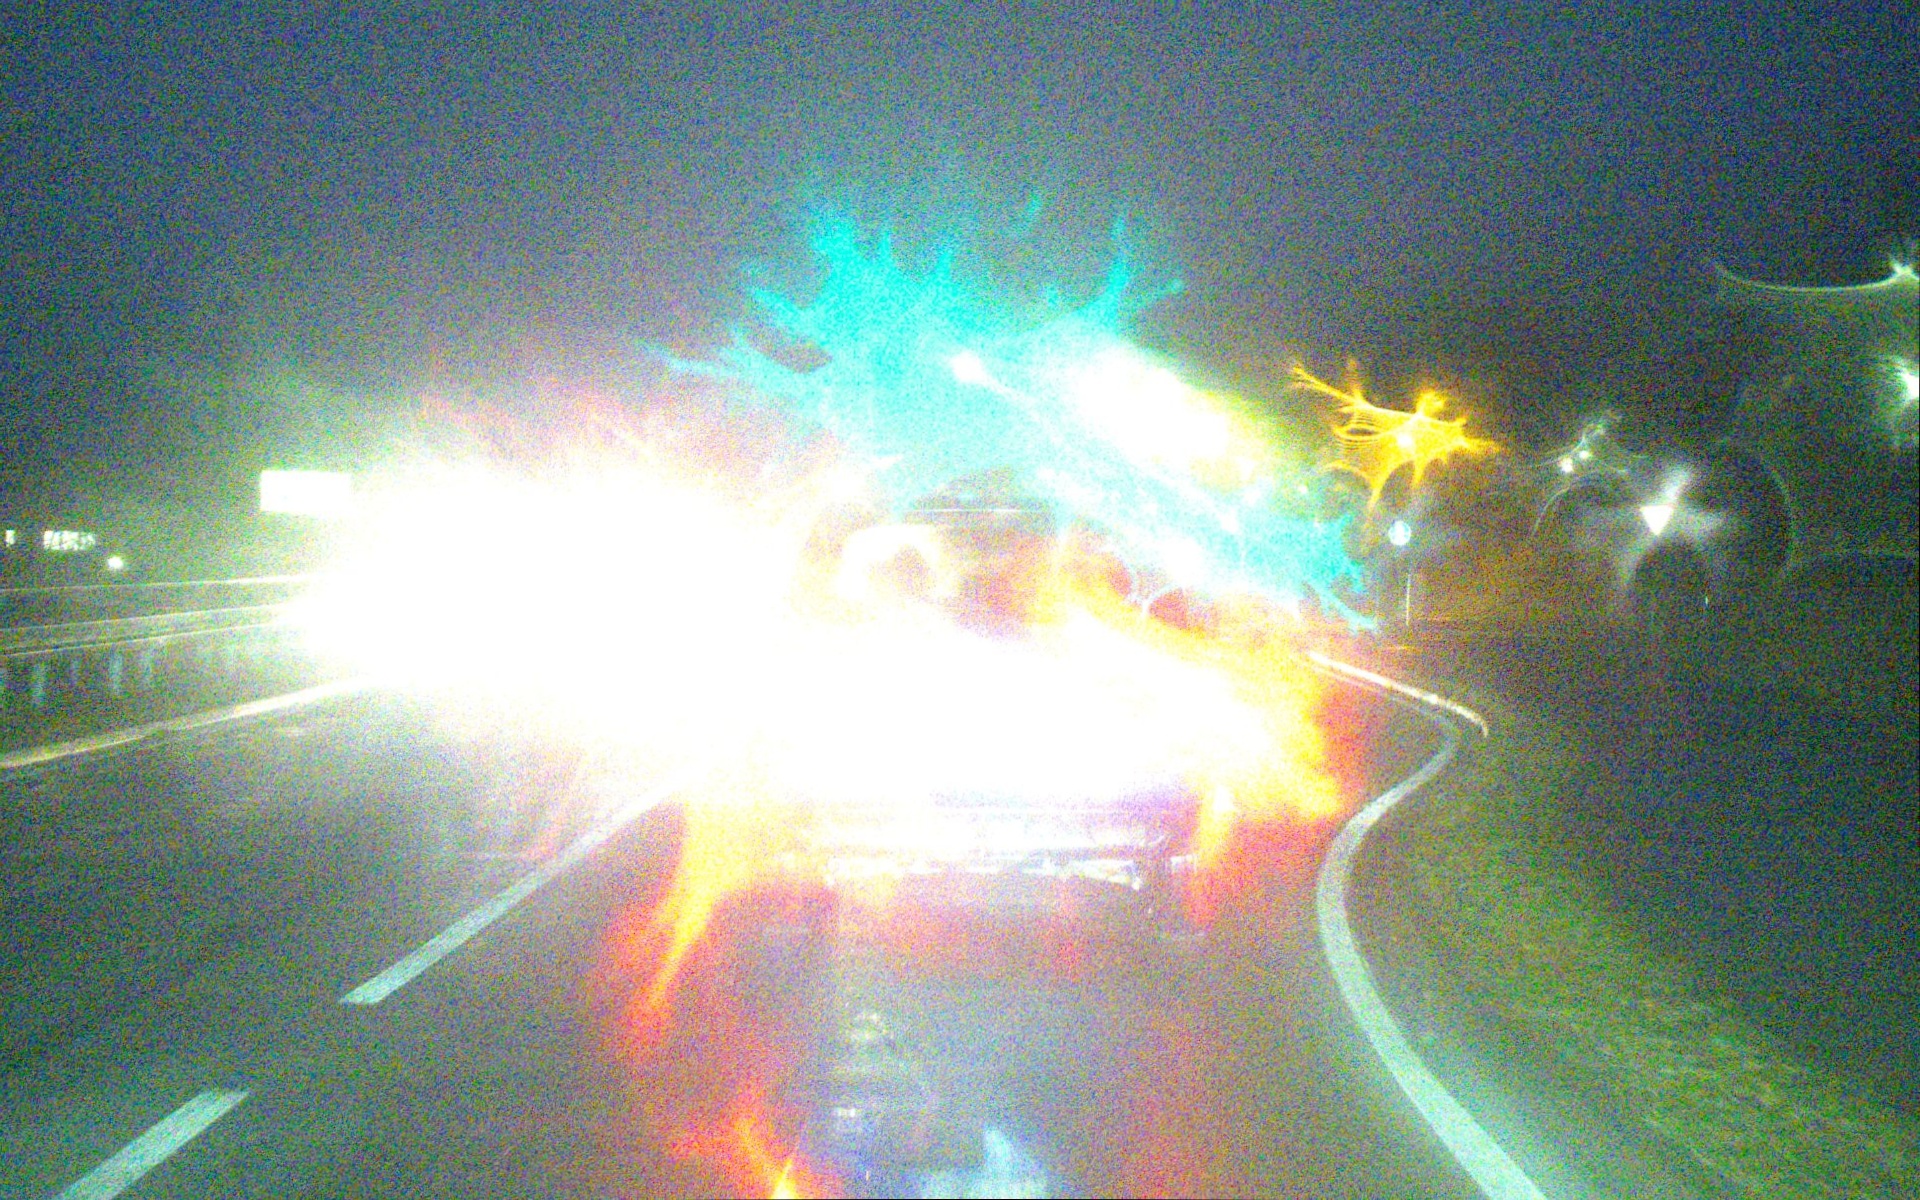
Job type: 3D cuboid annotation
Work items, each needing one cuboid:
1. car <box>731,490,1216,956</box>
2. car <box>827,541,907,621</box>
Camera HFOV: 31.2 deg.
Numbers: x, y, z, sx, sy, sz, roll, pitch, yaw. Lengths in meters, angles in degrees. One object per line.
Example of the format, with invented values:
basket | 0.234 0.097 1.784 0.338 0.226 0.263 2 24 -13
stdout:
car | 0.034 0.442 14.771 1.775 1.706 4.000 1 0 0
car | -2.511 -0.494 92.391 1.993 2.007 4.000 0 -2 -4
